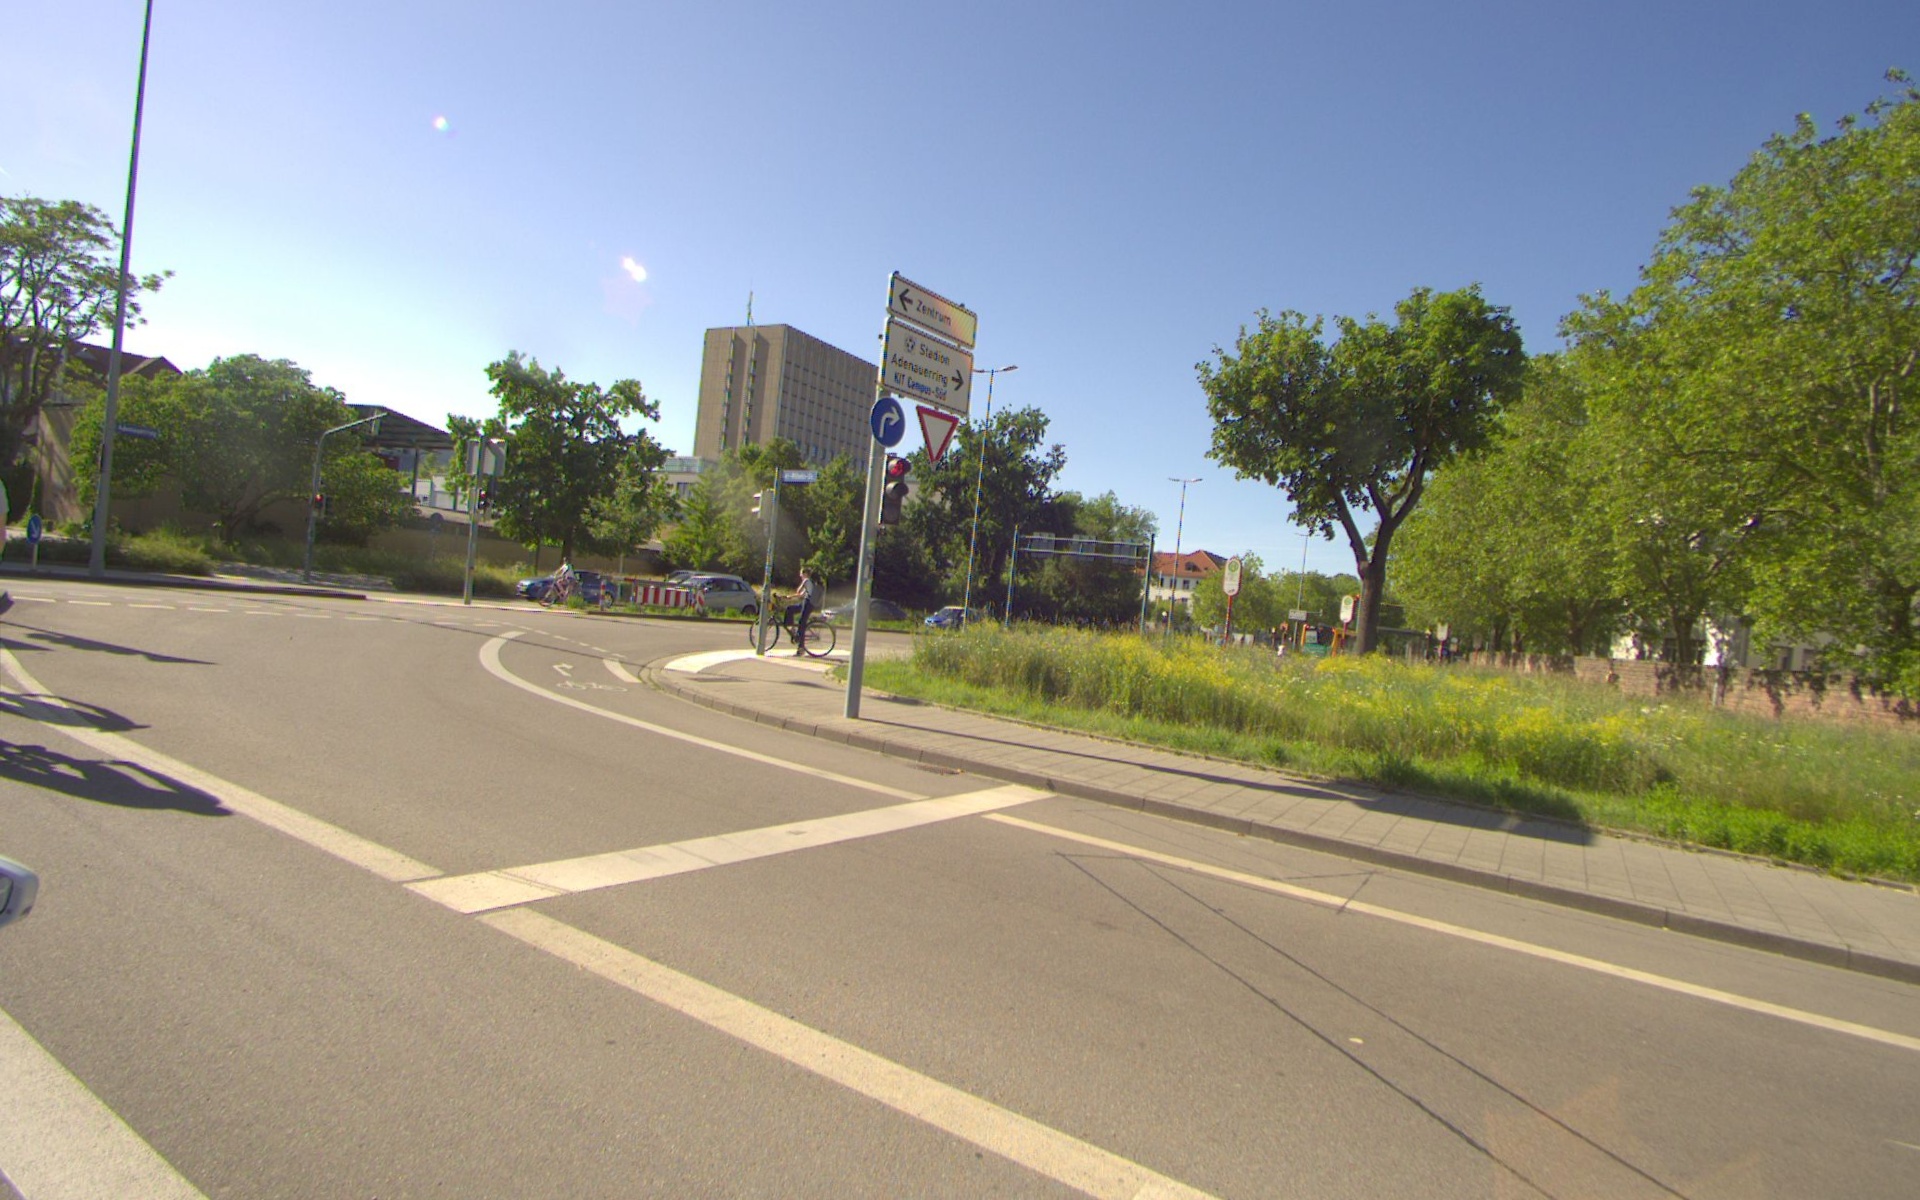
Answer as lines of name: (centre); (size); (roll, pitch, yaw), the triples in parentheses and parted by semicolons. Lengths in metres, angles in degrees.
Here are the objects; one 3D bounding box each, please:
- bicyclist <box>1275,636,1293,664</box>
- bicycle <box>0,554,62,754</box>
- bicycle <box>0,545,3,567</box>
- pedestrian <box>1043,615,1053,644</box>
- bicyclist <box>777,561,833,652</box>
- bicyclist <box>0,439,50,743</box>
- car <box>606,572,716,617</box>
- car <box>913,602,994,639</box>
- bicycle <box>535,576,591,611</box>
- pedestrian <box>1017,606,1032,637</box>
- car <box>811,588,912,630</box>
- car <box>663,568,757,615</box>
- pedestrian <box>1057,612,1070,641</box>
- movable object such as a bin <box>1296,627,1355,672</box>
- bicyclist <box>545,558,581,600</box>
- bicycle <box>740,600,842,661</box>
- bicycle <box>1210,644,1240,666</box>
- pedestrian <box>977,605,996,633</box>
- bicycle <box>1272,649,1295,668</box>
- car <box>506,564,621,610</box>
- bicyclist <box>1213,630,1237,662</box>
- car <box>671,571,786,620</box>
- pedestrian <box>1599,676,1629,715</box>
bicyclist: (19.104, 2.958, 59.356); (0.509, 1.548, 1.067); (7, 2, 39)
bicycle: (-6.318, 0.234, 6.117); (1.890, 1.102, 0.690); (6, -1, 32)
bicycle: (-8.244, 0.018, 7.774); (1.890, 1.102, 0.690); (6, -1, 32)
pedestrian: (7.797, 2.629, 89.314); (0.401, 2.451, 0.467); (6, -1, 34)
bicyclist: (-3.038, 0.126, 19.707); (0.898, 1.667, 0.630); (6, 1, -9)
bicyclist: (-6.304, -0.115, 6.139); (1.123, 1.813, 0.684); (7, 0, 32)
car: (-12.300, -0.198, 41.573); (1.767, 1.415, 3.986); (7, 0, 37)
car: (-0.295, 1.054, 50.459); (1.916, 1.415, 3.986); (6, 0, 37)
bicycle: (-13.942, -0.226, 35.355); (0.602, 1.046, 1.681); (7, 0, 37)
pedestrian: (5.428, 1.796, 84.639); (0.660, 2.451, 0.770); (6, -1, 34)
car: (-4.310, 0.438, 44.632); (1.767, 1.415, 4.557); (7, 0, 37)
car: (-11.843, -0.364, 47.798); (1.767, 1.771, 3.986); (7, 0, 37)
pedestrian: (9.316, 2.370, 90.380); (0.710, 2.451, 0.585); (6, -1, 34)
movable object such as a bin: (28.001, 3.811, 76.825); (2.954, 2.898, 9.178); (6, 0, 27)
bicyclist: (-13.935, -0.721, 35.285); (0.602, 1.360, 0.874); (7, 1, 37)
bicycle: (-3.292, 0.593, 19.680); (1.856, 0.970, 0.635); (7, 1, -10)
bicycle: (13.399, 2.793, 50.874); (0.640, 0.986, 1.895); (7, 1, 39)
pedestrian: (2.133, 1.526, 80.727); (0.752, 2.039, 1.267); (7, 1, 36)
bicycle: (19.140, 3.470, 59.479); (0.514, 1.000, 1.965); (7, 1, 39)
car: (-16.211, -0.524, 41.320); (1.767, 1.415, 3.986); (7, 0, 37)
bicyclist: (13.392, 2.337, 50.798); (0.632, 1.533, 1.049); (7, 2, 39)
car: (-8.740, -0.128, 38.291); (1.767, 1.415, 3.986); (7, 0, 37)
pedestrian: (26.445, 3.864, 40.688); (0.712, 1.460, 0.523); (7, -1, 2)
